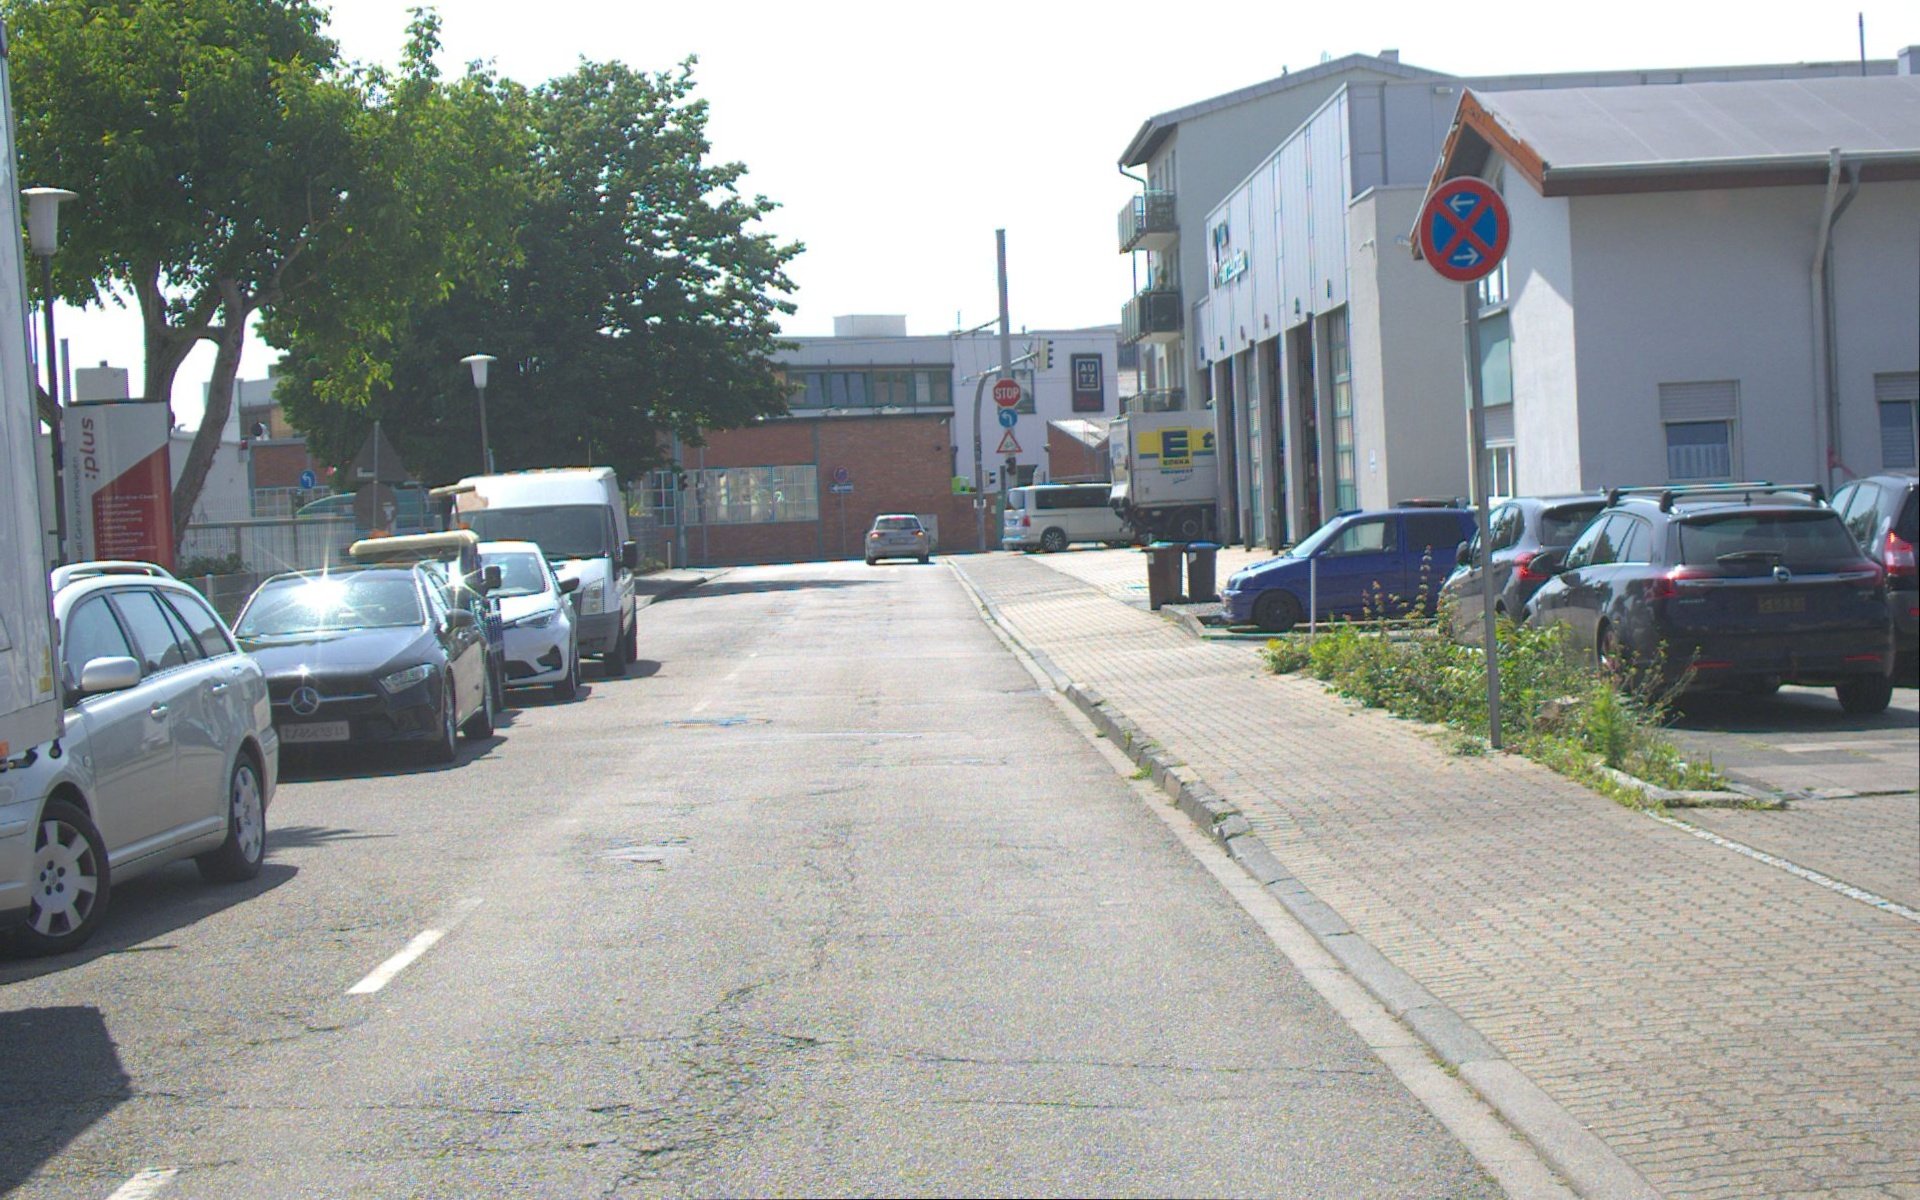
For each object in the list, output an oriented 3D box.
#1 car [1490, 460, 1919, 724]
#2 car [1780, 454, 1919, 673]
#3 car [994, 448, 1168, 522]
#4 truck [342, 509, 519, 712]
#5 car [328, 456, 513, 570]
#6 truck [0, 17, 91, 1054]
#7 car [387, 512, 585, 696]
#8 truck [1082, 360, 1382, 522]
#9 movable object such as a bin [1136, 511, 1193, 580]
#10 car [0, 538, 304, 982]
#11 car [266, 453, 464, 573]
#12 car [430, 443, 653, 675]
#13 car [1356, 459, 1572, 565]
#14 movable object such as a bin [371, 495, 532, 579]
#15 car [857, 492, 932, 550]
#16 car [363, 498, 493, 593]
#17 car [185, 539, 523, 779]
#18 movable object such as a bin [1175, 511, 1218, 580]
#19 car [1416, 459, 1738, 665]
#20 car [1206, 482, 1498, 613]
[{"bbox_3d":[5.095,-0.132,23.885,1.858,1.562,4.952,-3,2,-2],"label":"car"},{"bbox_3d":[7.668,-0.326,26.853,1.759,1.589,3.619,1,2,2],"label":"car"},{"bbox_3d":[3.555,-3.377,100.861,4.653,1.951,1.917,-3,2,-19],"label":"car"},{"bbox_3d":[-4.685,0.048,30.701,1.138,1.616,3.142,-4,2,-3],"label":"truck"},{"bbox_3d":[-12.853,-2.088,82.082,4.085,2.504,1.777,-2,2,-2],"label":"car"},{"bbox_3d":[-4.354,-0.142,8.414,2.685,3.354,7.131,-3,1,-2],"label":"truck"},{"bbox_3d":[-4.668,-0.009,34.311,1.704,1.618,3.974,-4,2,-6],"label":"car"},{"bbox_3d":[7.278,-4.277,92.460,7.358,3.632,2.768,-5,2,-6],"label":"truck"},{"bbox_3d":[2.907,-0.776,48.890,0.568,0.943,0.556,-2,2,33],"label":"movable object such as a bin"},{"bbox_3d":[-4.136,0.572,14.482,1.741,1.516,4.310,-3,2,2],"label":"car"},{"bbox_3d":[-13.342,-1.970,77.253,4.085,2.504,1.777,-2,2,-2],"label":"car"},{"bbox_3d":[-4.718,-0.459,39.477,2.005,2.358,5.230,-4,1,-3],"label":"car"},{"bbox_3d":[8.389,-1.472,57.076,1.777,1.534,3.694,-1,3,41],"label":"car"},{"bbox_3d":[-10.351,-1.296,70.154,2.627,1.505,2.728,-3,2,5],"label":"movable object such as a bin"},{"bbox_3d":[-1.972,-2.358,102.536,1.890,1.679,3.959,1,2,-6],"label":"car"},{"bbox_3d":[-9.457,-0.994,61.366,1.814,1.525,3.676,-3,2,-2],"label":"car"},{"bbox_3d":[-4.341,0.360,25.222,1.704,1.458,4.114,-4,2,-1],"label":"car"},{"bbox_3d":[3.394,-0.784,49.306,0.514,0.943,0.487,-3,2,11],"label":"movable object such as a bin"},{"bbox_3d":[5.184,-0.373,29.431,1.811,1.553,4.293,-3,2,-2],"label":"car"},{"bbox_3d":[4.666,-0.641,41.229,3.253,1.394,1.673,-3,2,0],"label":"car"}]
